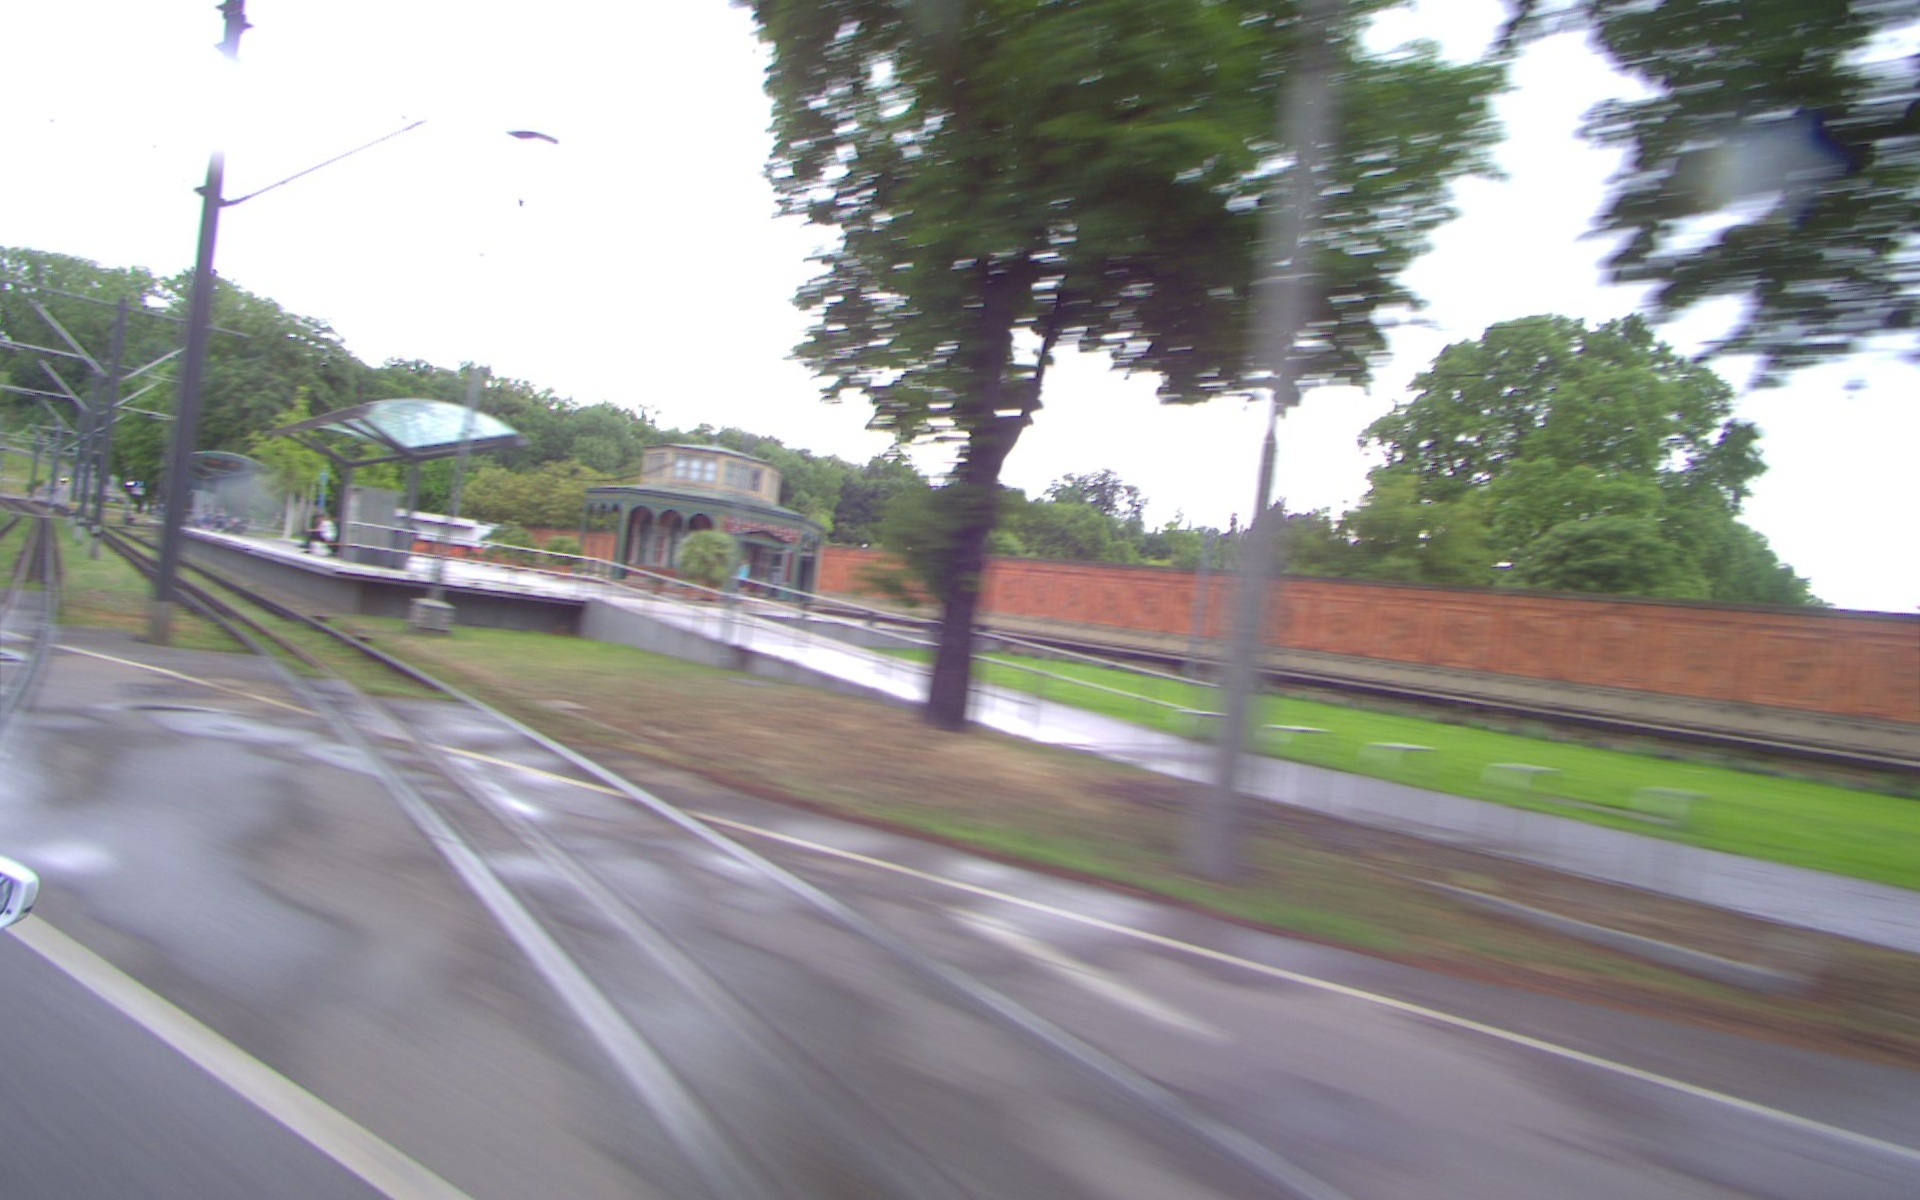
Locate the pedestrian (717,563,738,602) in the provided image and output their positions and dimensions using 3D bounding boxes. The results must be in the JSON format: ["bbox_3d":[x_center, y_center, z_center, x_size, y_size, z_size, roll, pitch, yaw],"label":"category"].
[{"bbox_3d":[-10.936,-0.827,47.260,0.528,1.729,0.690,10,-3,-31],"label":"pedestrian"}]

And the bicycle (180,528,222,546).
[{"bbox_3d":[-55.049,-4.570,72.942,2.315,0.969,0.563,7,0,-45],"label":"bicycle"}]

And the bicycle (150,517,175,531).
[{"bbox_3d":[-77.304,-7.368,97.513,0.644,1.044,1.806,8,0,45],"label":"bicycle"}]

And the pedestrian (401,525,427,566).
[{"bbox_3d":[-25.850,-2.596,47.617,0.718,1.813,1.168,5,2,-42],"label":"pedestrian"}]

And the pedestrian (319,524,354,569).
[{"bbox_3d":[-18.636,-1.599,30.081,0.772,1.224,0.519,5,-6,43],"label":"pedestrian"}]

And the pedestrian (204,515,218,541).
[{"bbox_3d":[-37.947,-3.654,50.986,0.435,1.241,0.544,6,1,-42],"label":"pedestrian"}]

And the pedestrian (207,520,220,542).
[{"bbox_3d":[-37.486,-3.473,50.512,0.435,1.021,0.544,6,1,-42],"label":"pedestrian"}]

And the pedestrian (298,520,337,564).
[{"bbox_3d":[-18.552,-1.672,29.046,0.511,1.130,0.602,7,-4,31],"label":"pedestrian"}]

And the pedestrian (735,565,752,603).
[{"bbox_3d":[-10.122,-0.733,47.059,0.542,1.676,0.469,7,-1,-9],"label":"pedestrian"}]

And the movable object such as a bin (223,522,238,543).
[{"bbox_3d":[-36.854,-3.414,50.819,0.435,1.021,0.674,6,1,-42],"label":"movable object such as a bin"}]
